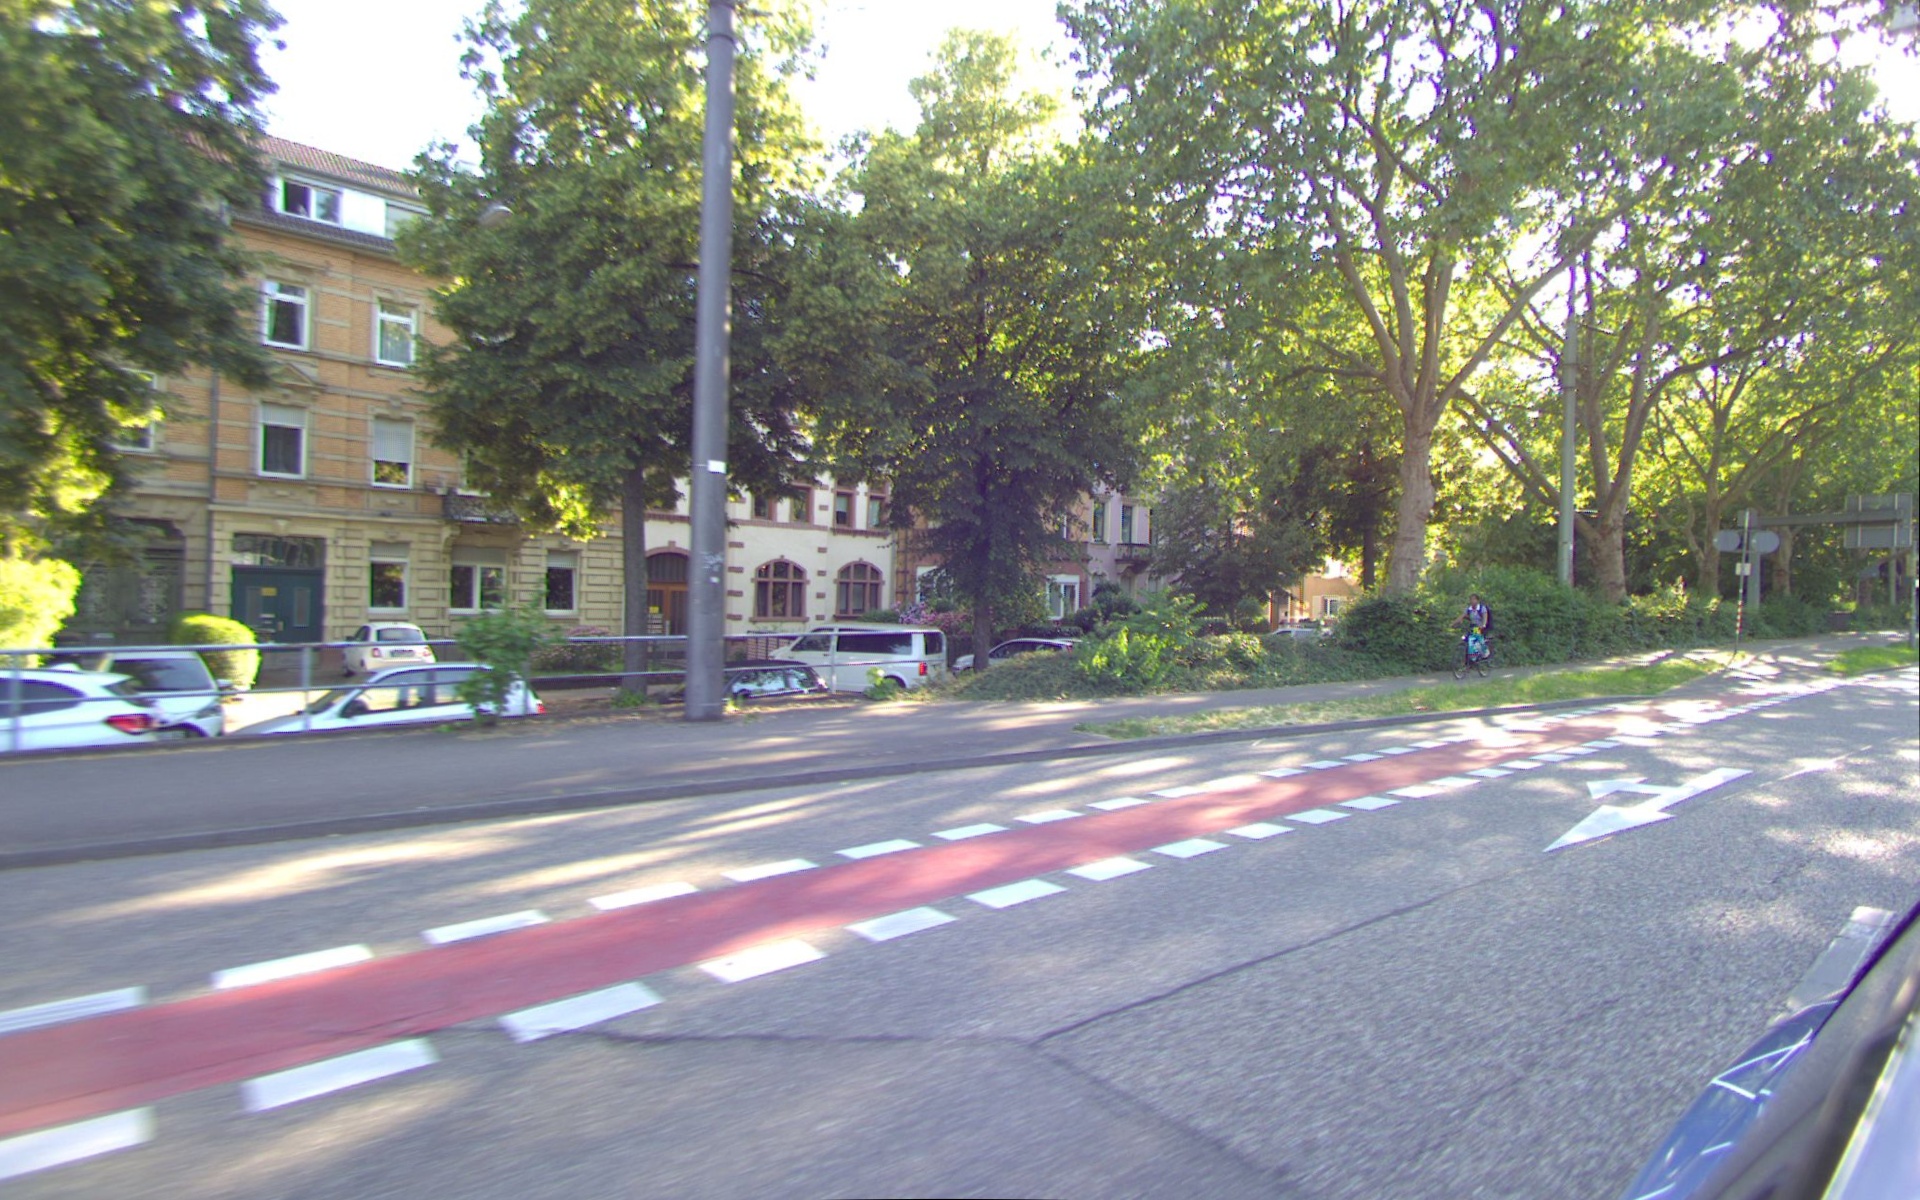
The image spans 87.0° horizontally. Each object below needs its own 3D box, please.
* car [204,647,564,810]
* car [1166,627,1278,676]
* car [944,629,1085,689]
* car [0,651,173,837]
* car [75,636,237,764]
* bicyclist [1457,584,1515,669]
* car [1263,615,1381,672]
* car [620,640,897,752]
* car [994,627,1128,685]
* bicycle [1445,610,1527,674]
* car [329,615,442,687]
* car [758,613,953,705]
[{"bbox_3d":[-6.908,1.411,12.298,3.516,1.459,1.796,-1,0,-42],"label":"car"},{"bbox_3d":[9.852,1.901,38.054,3.947,1.529,1.790,2,1,18],"label":"car"},{"bbox_3d":[1.641,1.714,30.030,3.871,1.470,1.680,2,1,17],"label":"car"},{"bbox_3d":[-10.199,1.405,9.408,4.474,1.599,1.797,-1,0,-41],"label":"car"},{"bbox_3d":[-12.943,1.472,16.202,1.769,1.532,3.993,1,1,-42],"label":"car"},{"bbox_3d":[9.805,0.473,18.878,0.639,1.532,0.767,1,0,-41],"label":"bicyclist"},{"bbox_3d":[14.825,1.727,41.643,4.408,2.039,1.984,2,1,20],"label":"car"},{"bbox_3d":[-3.077,1.403,15.936,3.932,1.325,1.796,-1,0,-42],"label":"car"},{"bbox_3d":[3.253,1.754,32.446,3.947,1.529,1.790,2,1,18],"label":"car"},{"bbox_3d":[9.862,0.758,18.943,1.768,1.121,0.767,0,0,-41],"label":"bicycle"},{"bbox_3d":[-14.918,1.257,26.217,1.770,1.541,3.570,0,2,-43],"label":"car"},{"bbox_3d":[-2.680,1.442,26.066,4.620,1.990,1.862,2,1,18],"label":"car"}]
